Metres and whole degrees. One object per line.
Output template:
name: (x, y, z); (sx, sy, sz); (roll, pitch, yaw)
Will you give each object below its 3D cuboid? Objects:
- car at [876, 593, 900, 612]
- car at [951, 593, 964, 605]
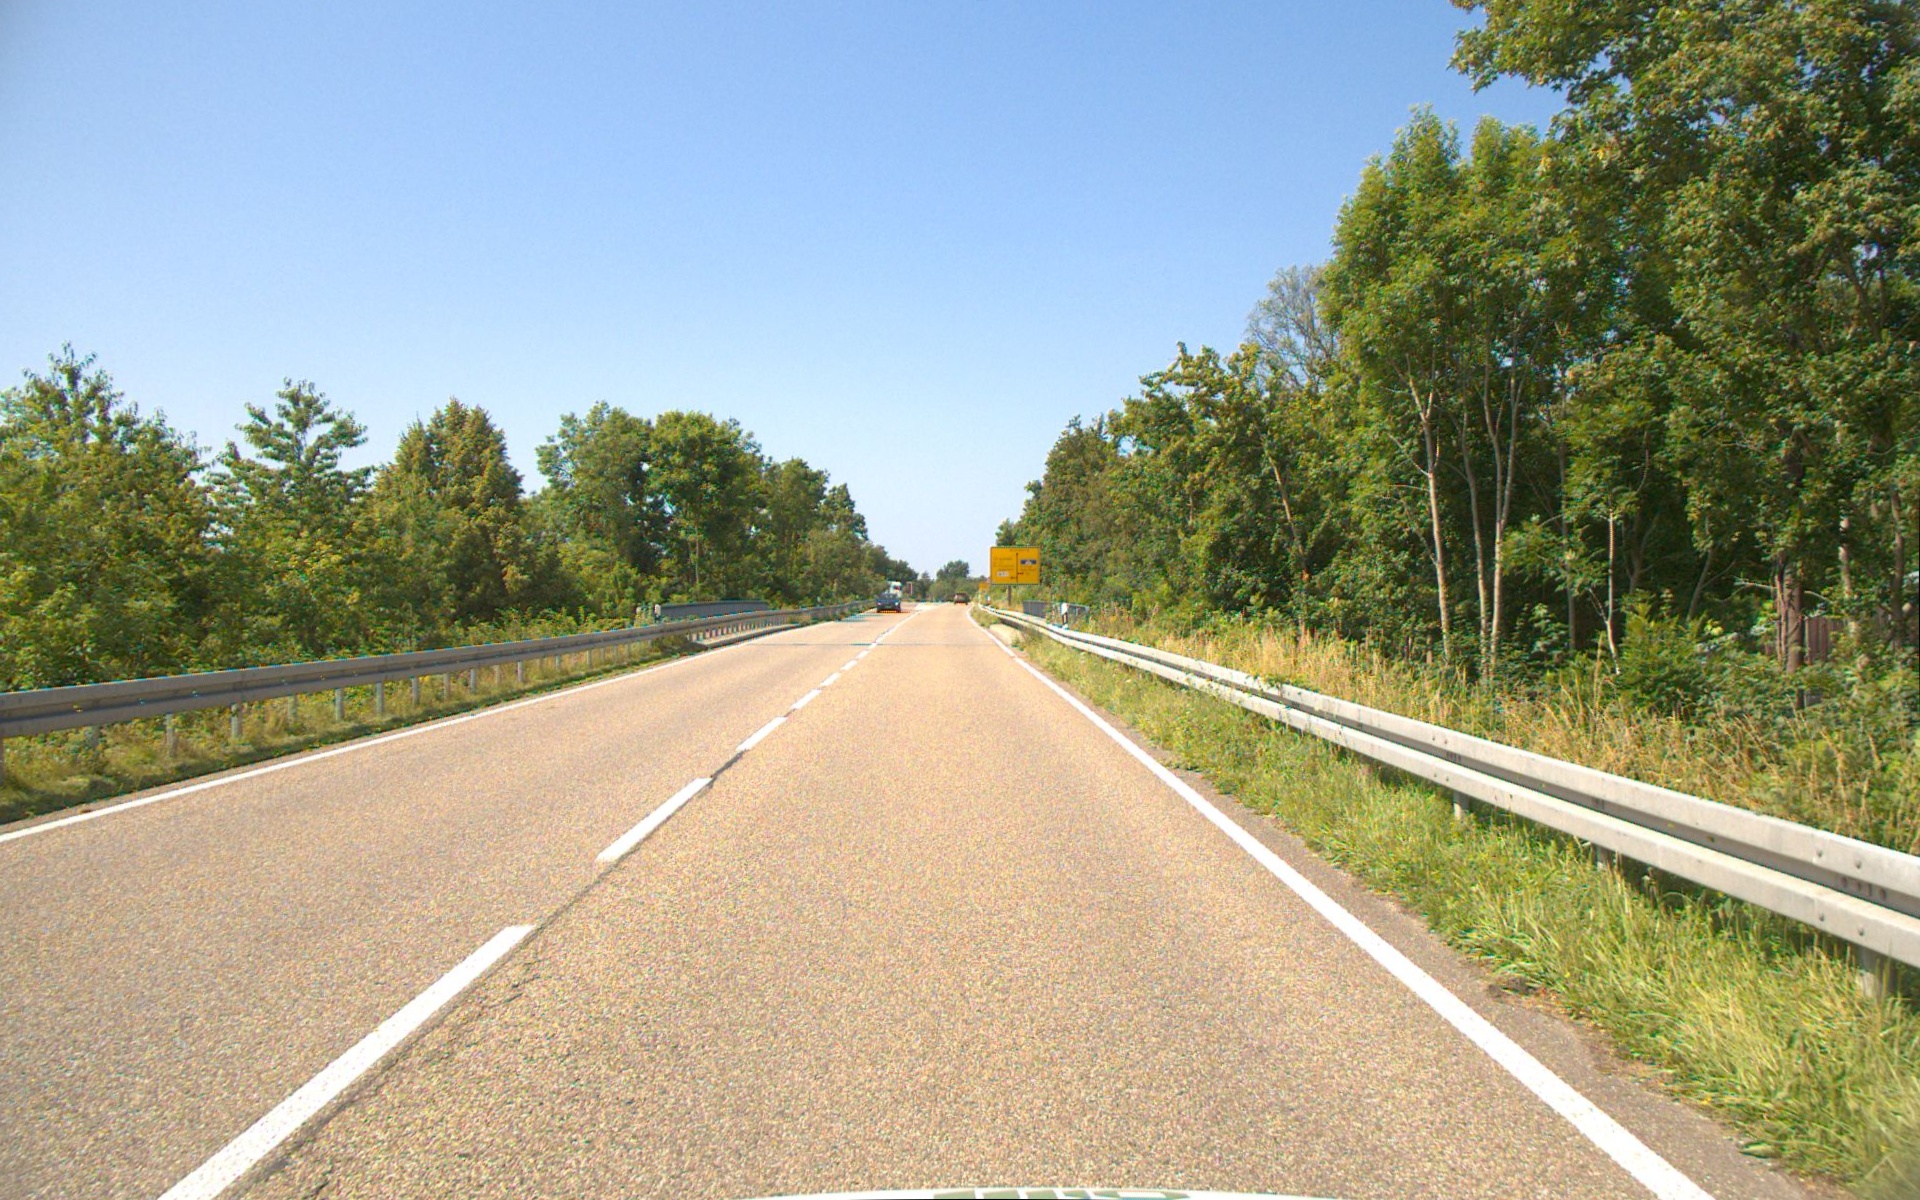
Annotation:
car: (-5.593, 0.183, 129.337); (1.710, 1.450, 4.676); (0, 0, -1)
car: (-0.307, -0.109, 208.022); (1.705, 1.496, 3.692); (0, 0, 0)
